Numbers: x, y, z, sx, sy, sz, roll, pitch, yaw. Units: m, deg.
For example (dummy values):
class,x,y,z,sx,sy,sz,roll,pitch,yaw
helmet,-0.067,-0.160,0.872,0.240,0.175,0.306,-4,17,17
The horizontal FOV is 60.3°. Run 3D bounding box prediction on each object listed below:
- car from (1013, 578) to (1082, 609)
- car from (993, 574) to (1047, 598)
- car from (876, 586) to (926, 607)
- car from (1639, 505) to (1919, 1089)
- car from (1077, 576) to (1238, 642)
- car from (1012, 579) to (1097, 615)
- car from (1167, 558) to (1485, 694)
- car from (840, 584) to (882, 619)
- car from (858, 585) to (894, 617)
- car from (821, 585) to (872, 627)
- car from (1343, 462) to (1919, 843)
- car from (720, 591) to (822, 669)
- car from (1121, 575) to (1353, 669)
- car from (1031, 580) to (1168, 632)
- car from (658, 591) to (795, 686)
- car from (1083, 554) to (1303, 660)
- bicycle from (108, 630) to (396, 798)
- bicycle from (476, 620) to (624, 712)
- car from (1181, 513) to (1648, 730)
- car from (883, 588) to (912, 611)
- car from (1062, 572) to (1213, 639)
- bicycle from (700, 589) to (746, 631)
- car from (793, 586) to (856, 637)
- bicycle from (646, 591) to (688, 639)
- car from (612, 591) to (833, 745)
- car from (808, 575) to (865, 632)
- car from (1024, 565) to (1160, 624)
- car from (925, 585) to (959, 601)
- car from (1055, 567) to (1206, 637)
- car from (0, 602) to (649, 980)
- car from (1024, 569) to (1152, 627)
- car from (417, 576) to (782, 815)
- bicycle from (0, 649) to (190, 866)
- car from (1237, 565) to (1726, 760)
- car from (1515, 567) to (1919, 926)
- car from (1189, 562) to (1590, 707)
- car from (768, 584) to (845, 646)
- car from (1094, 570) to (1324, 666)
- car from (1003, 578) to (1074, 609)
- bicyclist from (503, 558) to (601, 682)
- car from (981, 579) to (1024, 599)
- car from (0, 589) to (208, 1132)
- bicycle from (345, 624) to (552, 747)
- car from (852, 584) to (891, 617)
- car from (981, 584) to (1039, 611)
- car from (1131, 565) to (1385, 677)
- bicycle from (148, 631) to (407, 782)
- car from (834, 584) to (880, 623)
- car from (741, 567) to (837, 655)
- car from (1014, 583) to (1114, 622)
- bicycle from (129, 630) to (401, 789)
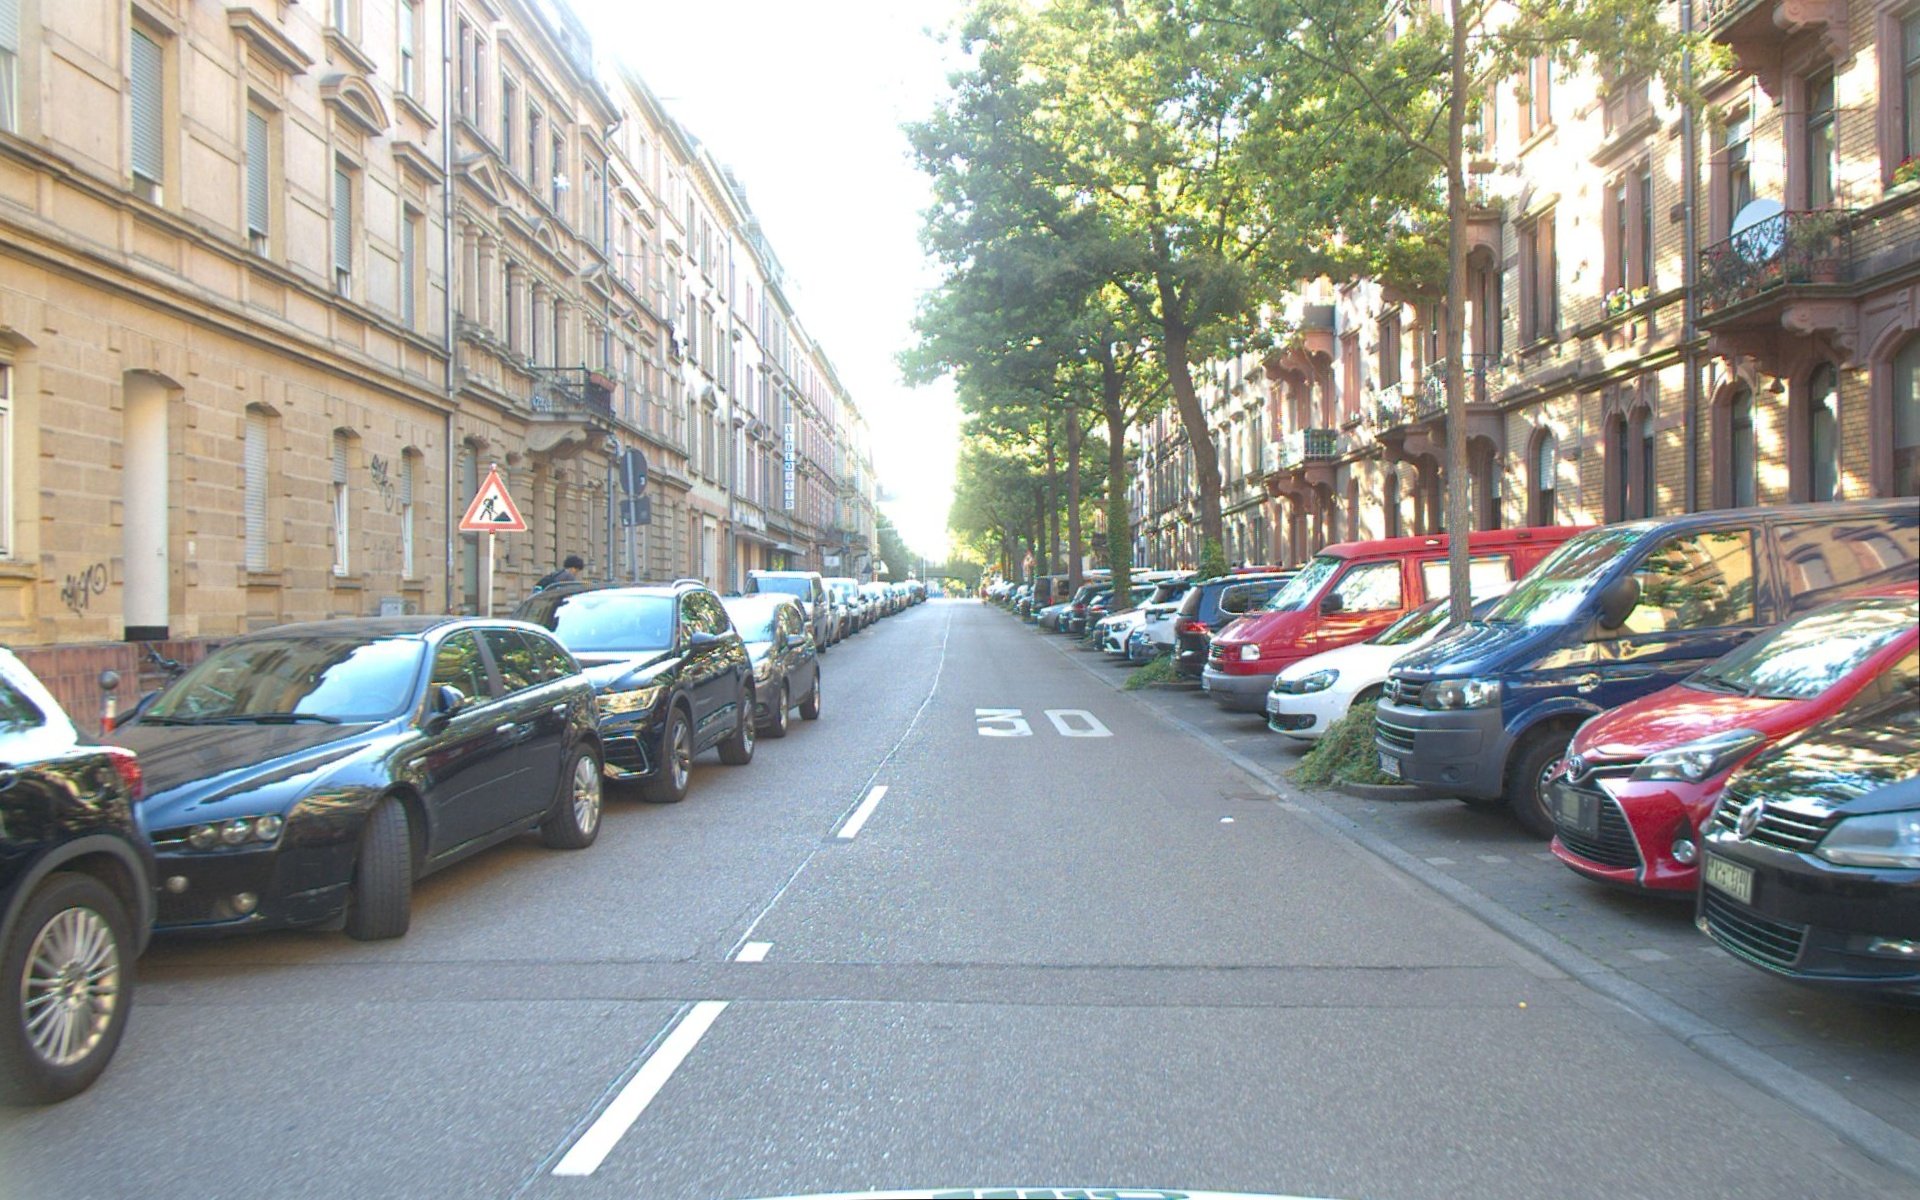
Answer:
class,x,y,z,sx,sy,sz,roll,pitch,yaw
car,5.157,-0.397,97.840,3.779,1.601,1.715,-3,1,-8
car,4.347,-1.017,120.221,3.772,1.601,1.718,-3,1,-1
car,-4.506,-0.232,127.266,1.957,1.512,3.990,-2,-2,32
car,4.985,0.488,5.588,4.588,1.708,1.852,-2,0,5
car,5.121,0.228,43.262,3.929,1.493,1.733,-3,0,-1
car,4.444,-0.151,78.137,3.774,1.505,1.717,-3,1,-4
car,5.092,0.353,23.450,4.099,1.656,1.838,-3,0,3
car,-4.363,0.041,73.439,1.723,1.498,4.058,-1,1,-2
car,-4.280,0.031,84.457,1.723,1.498,4.058,-1,1,-2
car,-4.262,0.195,62.469,1.723,1.498,4.058,-1,1,-2
car,5.239,0.298,10.966,4.919,2.253,1.992,-1,0,-1
car,-3.887,0.585,34.525,1.559,1.501,3.700,1,0,2
car,5.091,0.391,30.756,3.929,1.459,1.794,-4,0,-1
car,4.477,0.179,53.572,4.139,1.428,1.833,-3,1,-5
car,-4.149,0.637,29.956,1.722,1.527,4.061,-2,0,2
car,4.974,0.125,35.690,4.356,1.957,1.849,-4,1,-3
bicycle,-5.055,0.801,11.860,1.828,1.148,0.528,1,0,2
bicycle,-6.157,0.963,25.080,0.974,1.178,2.926,-1,1,11
car,4.947,0.218,18.419,4.582,2.069,1.877,-3,0,-3
car,-4.387,-0.040,117.108,1.953,1.512,3.999,-1,-1,-1
car,4.881,0.149,45.845,3.929,1.635,1.733,-3,0,-1
bicycle,-7.879,0.313,55.219,1.020,1.341,3.999,0,1,-1
car,-4.262,0.334,52.516,1.723,1.493,3.999,1,1,-2
bicycle,-8.166,0.388,46.195,0.725,1.277,2.826,0,1,-1
car,-2.613,0.692,19.121,1.722,1.527,4.061,-2,0,3
car,-4.240,0.098,57.532,1.723,1.874,4.528,-1,1,-2
car,4.970,-0.231,62.948,4.954,1.959,1.835,-3,1,0
car,-2.142,-0.814,196.307,3.902,1.891,1.753,0,0,8
car,4.957,0.036,48.494,4.136,1.807,1.835,-3,1,-2
car,-3.175,0.782,8.929,1.721,1.477,4.553,-2,0,5
car,4.575,-0.084,59.210,4.159,1.826,1.824,-3,1,-20
car,-2.772,0.649,13.840,1.721,1.628,4.553,-2,0,4
bicycle,-5.350,0.860,9.258,1.828,1.148,0.528,1,0,2
car,4.789,0.553,15.629,3.972,1.536,1.878,-3,0,-1
car,5.024,0.626,8.115,4.021,1.561,1.725,-1,0,0
car,5.331,0.424,20.997,4.578,1.540,1.879,-3,0,1
car,-4.214,0.378,46.023,1.717,1.636,4.384,1,1,0
car,4.931,0.330,33.127,4.256,1.583,1.850,-4,2,-1
car,4.495,-0.399,95.430,3.779,1.601,1.715,-3,1,-8
bicyclist,-6.172,0.283,25.070,0.974,1.821,1.209,-1,1,11
car,3.846,-0.979,150.526,3.772,1.601,1.718,-3,1,-1
car,-3.641,0.752,3.684,1.721,1.514,4.141,-2,0,5
bicycle,-4.952,0.822,16.070,1.829,1.148,0.528,1,0,0
car,-4.232,0.005,79.692,1.723,1.498,4.058,-1,1,-2
car,3.328,-0.186,110.136,3.771,1.601,1.718,-3,1,0
car,5.040,0.342,28.303,3.930,1.656,1.804,-3,0,-2
bicycle,-5.415,0.836,13.164,1.828,1.148,0.528,1,0,2
car,-4.253,0.128,68.571,1.723,1.498,4.058,-1,1,-2
car,-4.085,0.221,40.273,1.794,1.977,5.260,1,1,0
car,4.118,0.093,65.803,3.774,1.316,1.717,-3,1,-4
bicycle,-5.249,0.817,12.535,1.828,1.148,0.528,1,0,2
